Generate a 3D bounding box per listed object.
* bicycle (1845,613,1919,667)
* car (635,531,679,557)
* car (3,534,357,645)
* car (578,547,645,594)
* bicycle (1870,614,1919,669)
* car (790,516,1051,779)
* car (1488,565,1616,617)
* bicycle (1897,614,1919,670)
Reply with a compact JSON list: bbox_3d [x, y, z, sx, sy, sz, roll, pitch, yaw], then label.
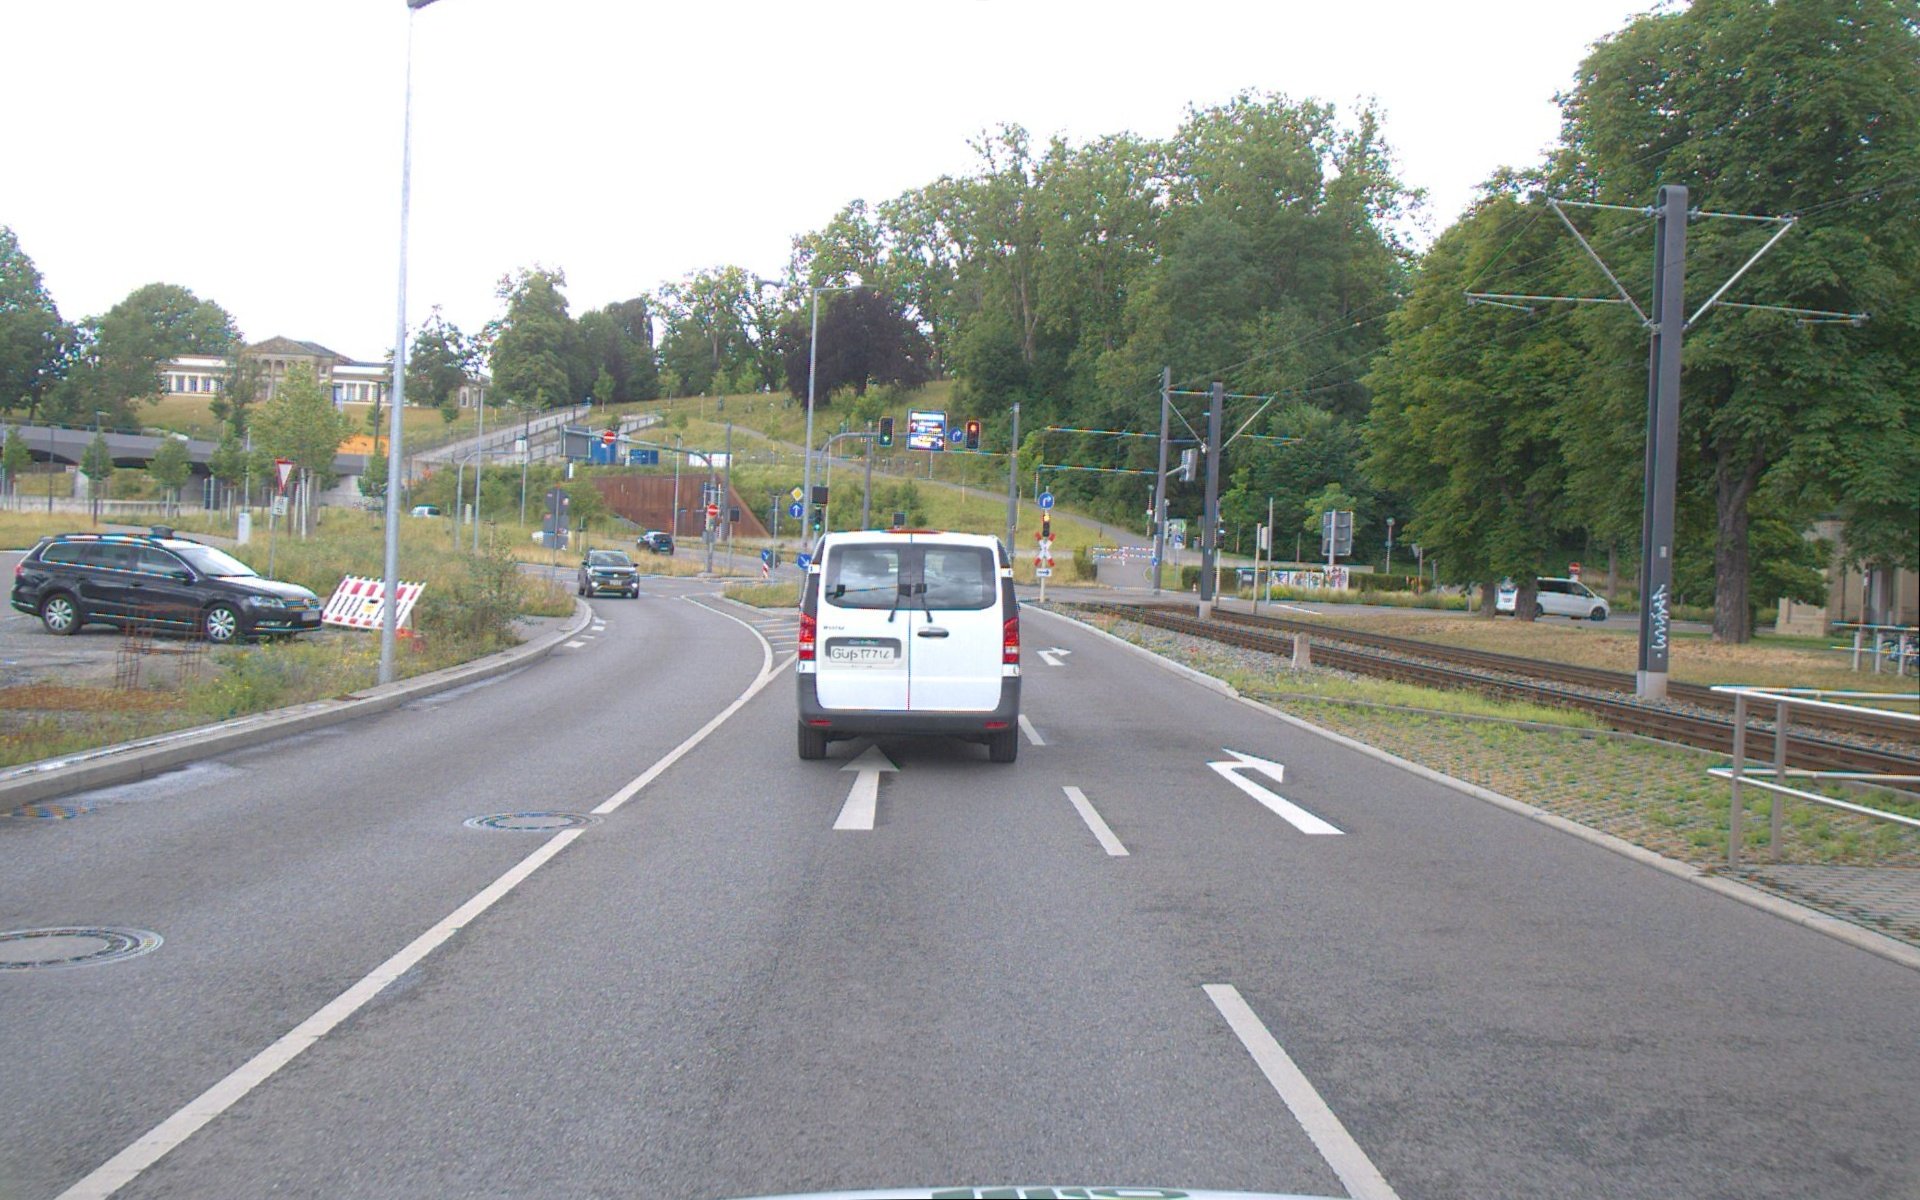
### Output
[{"bbox_3d":[18.287,0.784,32.133,1.873,0.992,0.530,2,1,-1],"label":"bicycle"},{"bbox_3d":[-20.948,-3.881,114.240,1.914,1.655,3.967,3,1,-26],"label":"car"},{"bbox_3d":[-12.037,-0.197,25.662,4.609,1.503,2.002,2,2,8],"label":"car"},{"bbox_3d":[-11.966,-1.029,56.667,1.849,1.502,3.981,1,2,-18],"label":"car"},{"bbox_3d":[18.267,0.791,31.207,1.873,0.992,0.530,2,1,-1],"label":"bicycle"},{"bbox_3d":[-0.492,0.316,14.967,1.921,1.936,4.457,3,1,-5],"label":"car"},{"bbox_3d":[27.027,-0.431,75.599,5.042,2.048,2.202,3,1,-11],"label":"car"},{"bbox_3d":[18.216,0.796,30.224,1.873,0.992,0.530,2,1,-1],"label":"bicycle"}]
